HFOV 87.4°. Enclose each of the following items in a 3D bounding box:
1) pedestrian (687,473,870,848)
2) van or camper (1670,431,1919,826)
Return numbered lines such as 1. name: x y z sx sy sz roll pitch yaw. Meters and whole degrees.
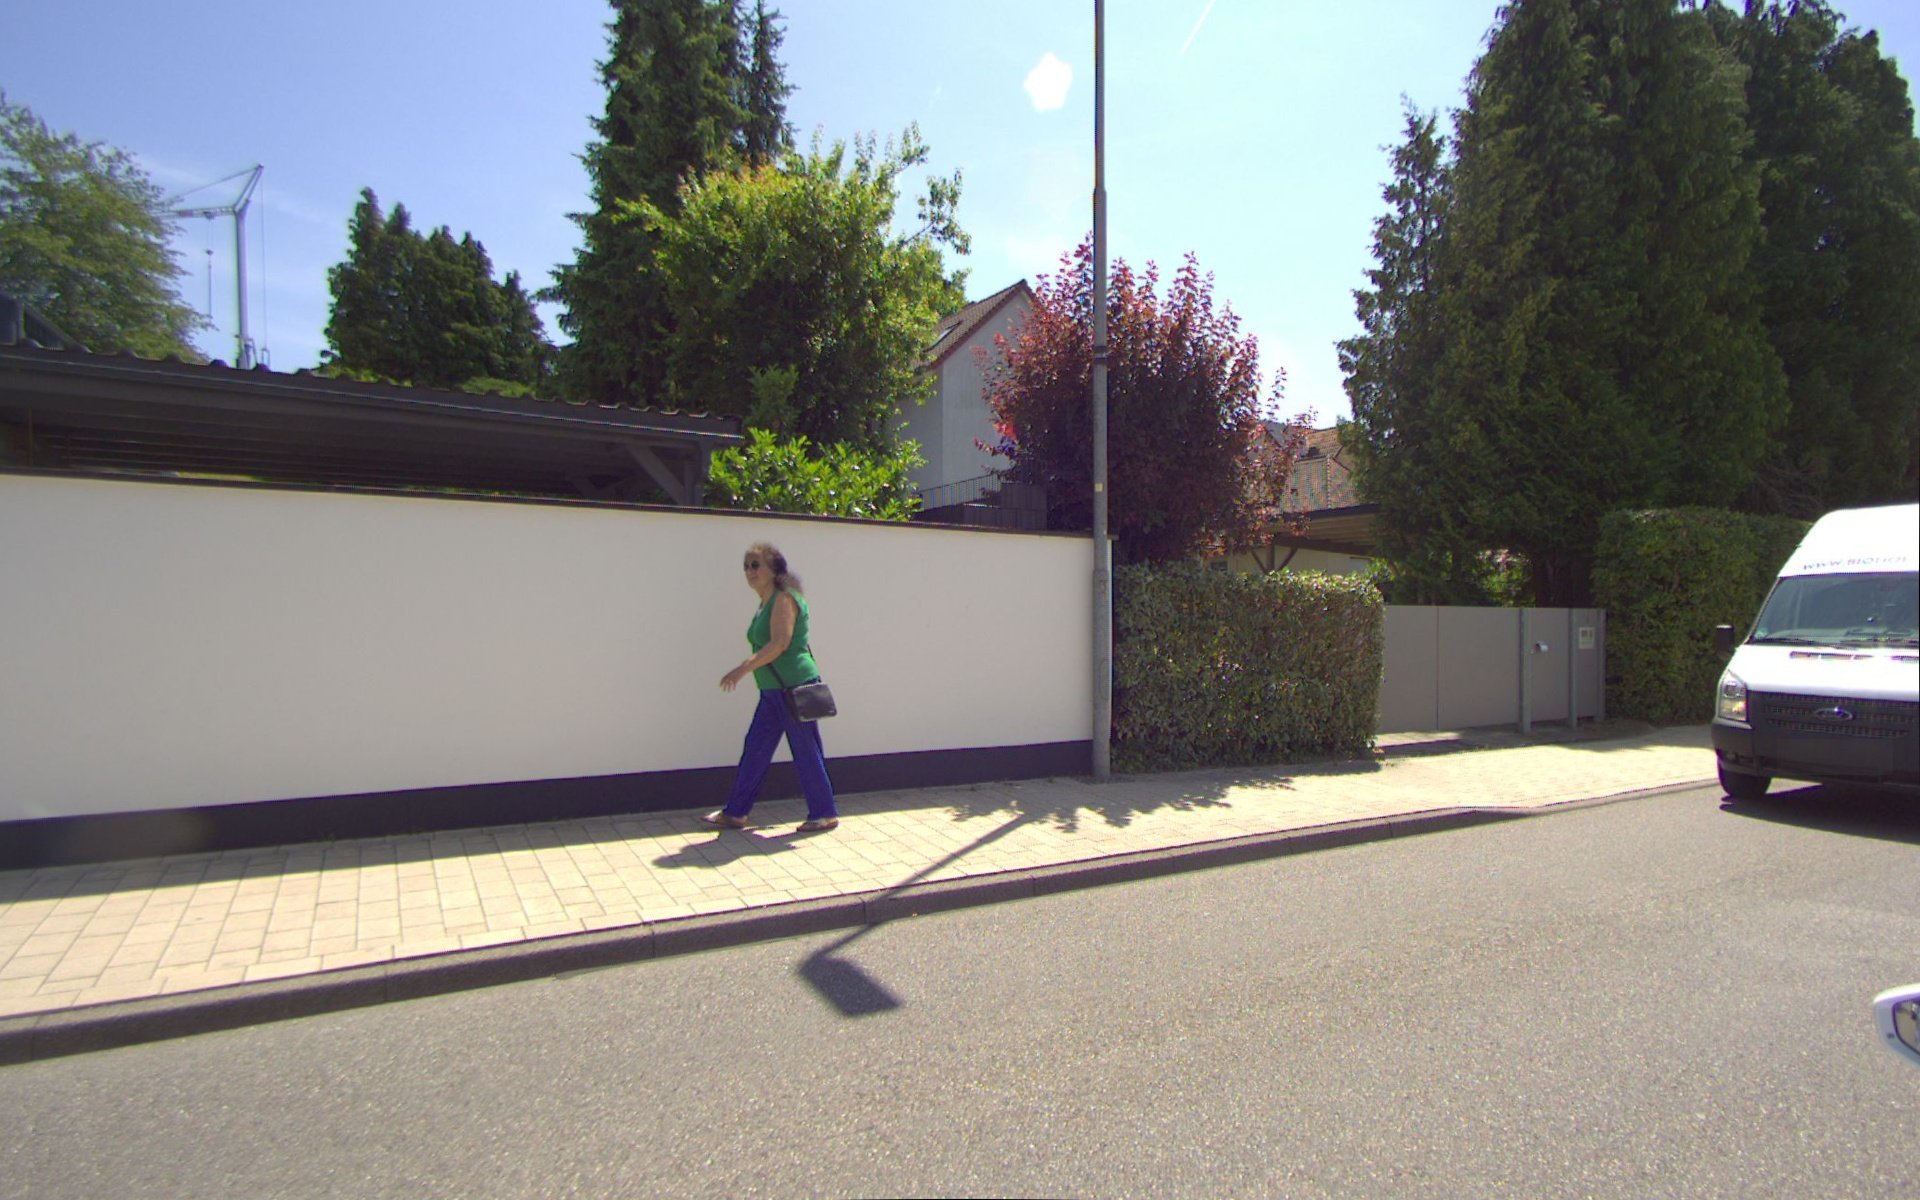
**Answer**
1. pedestrian: -1.091 0.337 5.983 0.795 2.040 0.716 2 0 -32
2. van or camper: 8.849 0.308 8.963 5.759 2.749 2.027 2 -2 -32
